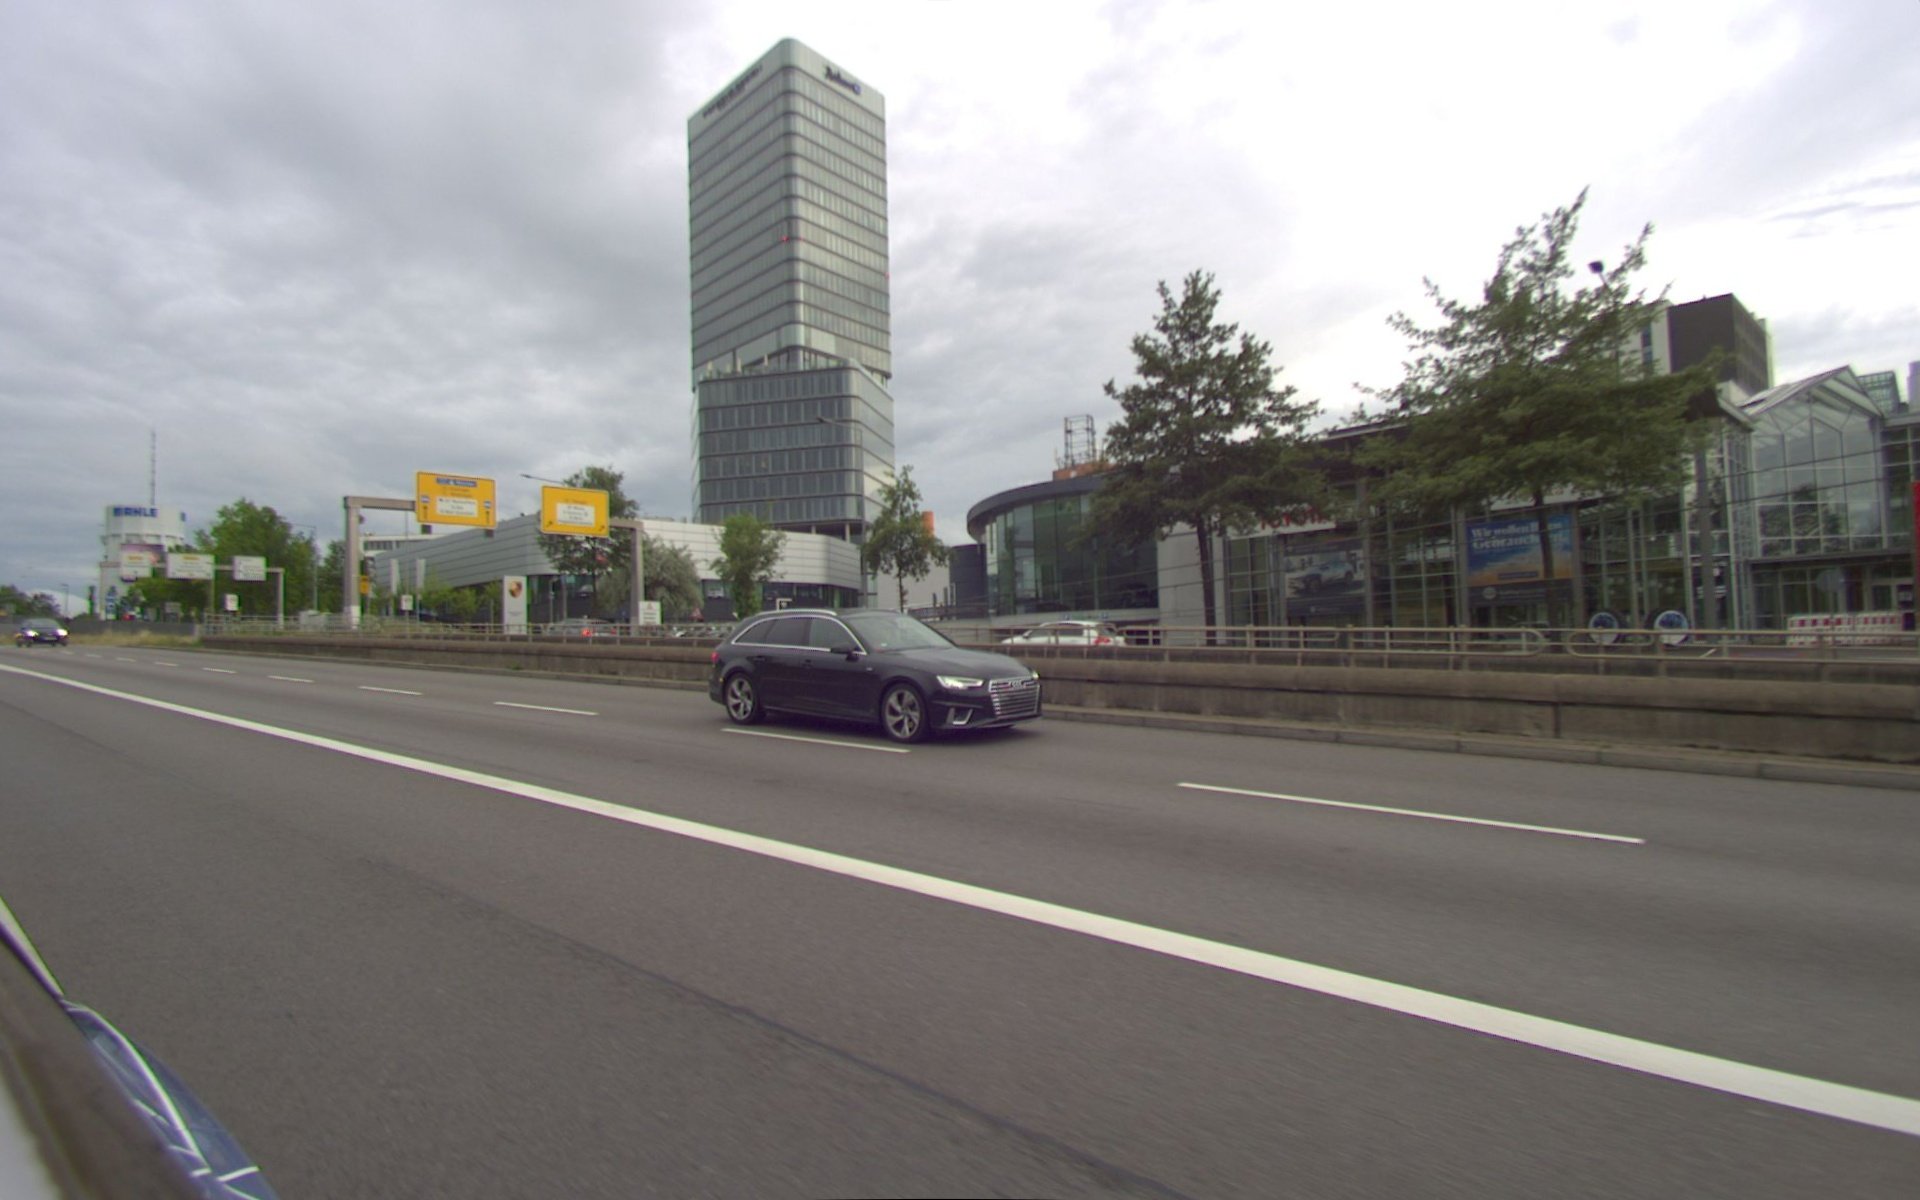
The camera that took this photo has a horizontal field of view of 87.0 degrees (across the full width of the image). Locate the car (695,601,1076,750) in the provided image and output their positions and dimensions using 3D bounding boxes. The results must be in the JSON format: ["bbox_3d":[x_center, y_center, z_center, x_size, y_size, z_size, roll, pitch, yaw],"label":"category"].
[{"bbox_3d":[-1.041,0.778,11.956,4.630,1.430,1.790,-1,-2,42],"label":"car"}]

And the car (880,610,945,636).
[{"bbox_3d":[-3.784,1.837,79.321,1.970,1.896,5.541,-1,-1,-43],"label":"car"}]

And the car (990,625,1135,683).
[{"bbox_3d":[2.999,1.554,30.165,1.970,1.597,4.002,2,-3,-45],"label":"car"}]

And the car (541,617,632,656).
[{"bbox_3d":[-16.241,1.576,43.932,3.997,1.597,1.973,0,-2,40],"label":"car"}]

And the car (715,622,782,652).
[{"bbox_3d":[-13.935,2.421,66.737,1.922,1.696,3.945,-5,-2,41],"label":"car"}]

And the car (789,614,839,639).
[{"bbox_3d":[-11.721,2.131,81.072,1.895,1.696,4.003,-1,-3,-44],"label":"car"}]

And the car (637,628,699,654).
[{"bbox_3d":[-20.973,2.952,72.867,1.698,1.612,3.958,-5,-2,41],"label":"car"}]

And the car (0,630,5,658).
[{"bbox_3d":[-56.916,2.545,58.628,3.996,1.644,1.849,-1,-1,40],"label":"car"}]

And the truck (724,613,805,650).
[{"bbox_3d":[-15.597,2.514,80.355,7.411,2.547,2.340,-5,-3,43],"label":"truck"}]

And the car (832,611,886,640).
[{"bbox_3d":[-7.497,1.907,75.257,1.879,1.896,4.004,-1,-3,-43],"label":"car"}]

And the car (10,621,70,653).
[{"bbox_3d":[-49.403,1.963,54.323,3.996,1.644,1.849,-1,-1,40],"label":"car"}]

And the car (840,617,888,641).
[{"bbox_3d":[-8.013,2.428,84.410,1.895,1.696,4.003,-1,-3,-44],"label":"car"}]

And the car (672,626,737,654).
[{"bbox_3d":[-17.620,2.739,69.864,1.922,1.696,3.945,-5,-2,41],"label":"car"}]

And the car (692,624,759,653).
[{"bbox_3d":[-15.800,2.575,68.275,1.922,1.696,3.945,-5,-2,41],"label":"car"}]

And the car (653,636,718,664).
[{"bbox_3d":[-19.329,3.527,71.418,1.922,1.696,3.945,-5,-2,41],"label":"car"}]

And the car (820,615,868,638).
[{"bbox_3d":[-9.519,2.182,82.882,1.895,1.696,4.003,-1,-3,-44],"label":"car"}]

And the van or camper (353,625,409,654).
[{"bbox_3d":[-39.010,2.660,68.165,3.942,1.670,1.846,-5,-2,38],"label":"van or camper"}]

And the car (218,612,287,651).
[{"bbox_3d":[-32.776,1.467,46.862,3.545,1.602,1.671,-5,-2,39],"label":"car"}]

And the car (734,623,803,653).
[{"bbox_3d":[-12.298,2.425,65.040,1.922,1.696,3.945,-5,-2,41],"label":"car"}]
